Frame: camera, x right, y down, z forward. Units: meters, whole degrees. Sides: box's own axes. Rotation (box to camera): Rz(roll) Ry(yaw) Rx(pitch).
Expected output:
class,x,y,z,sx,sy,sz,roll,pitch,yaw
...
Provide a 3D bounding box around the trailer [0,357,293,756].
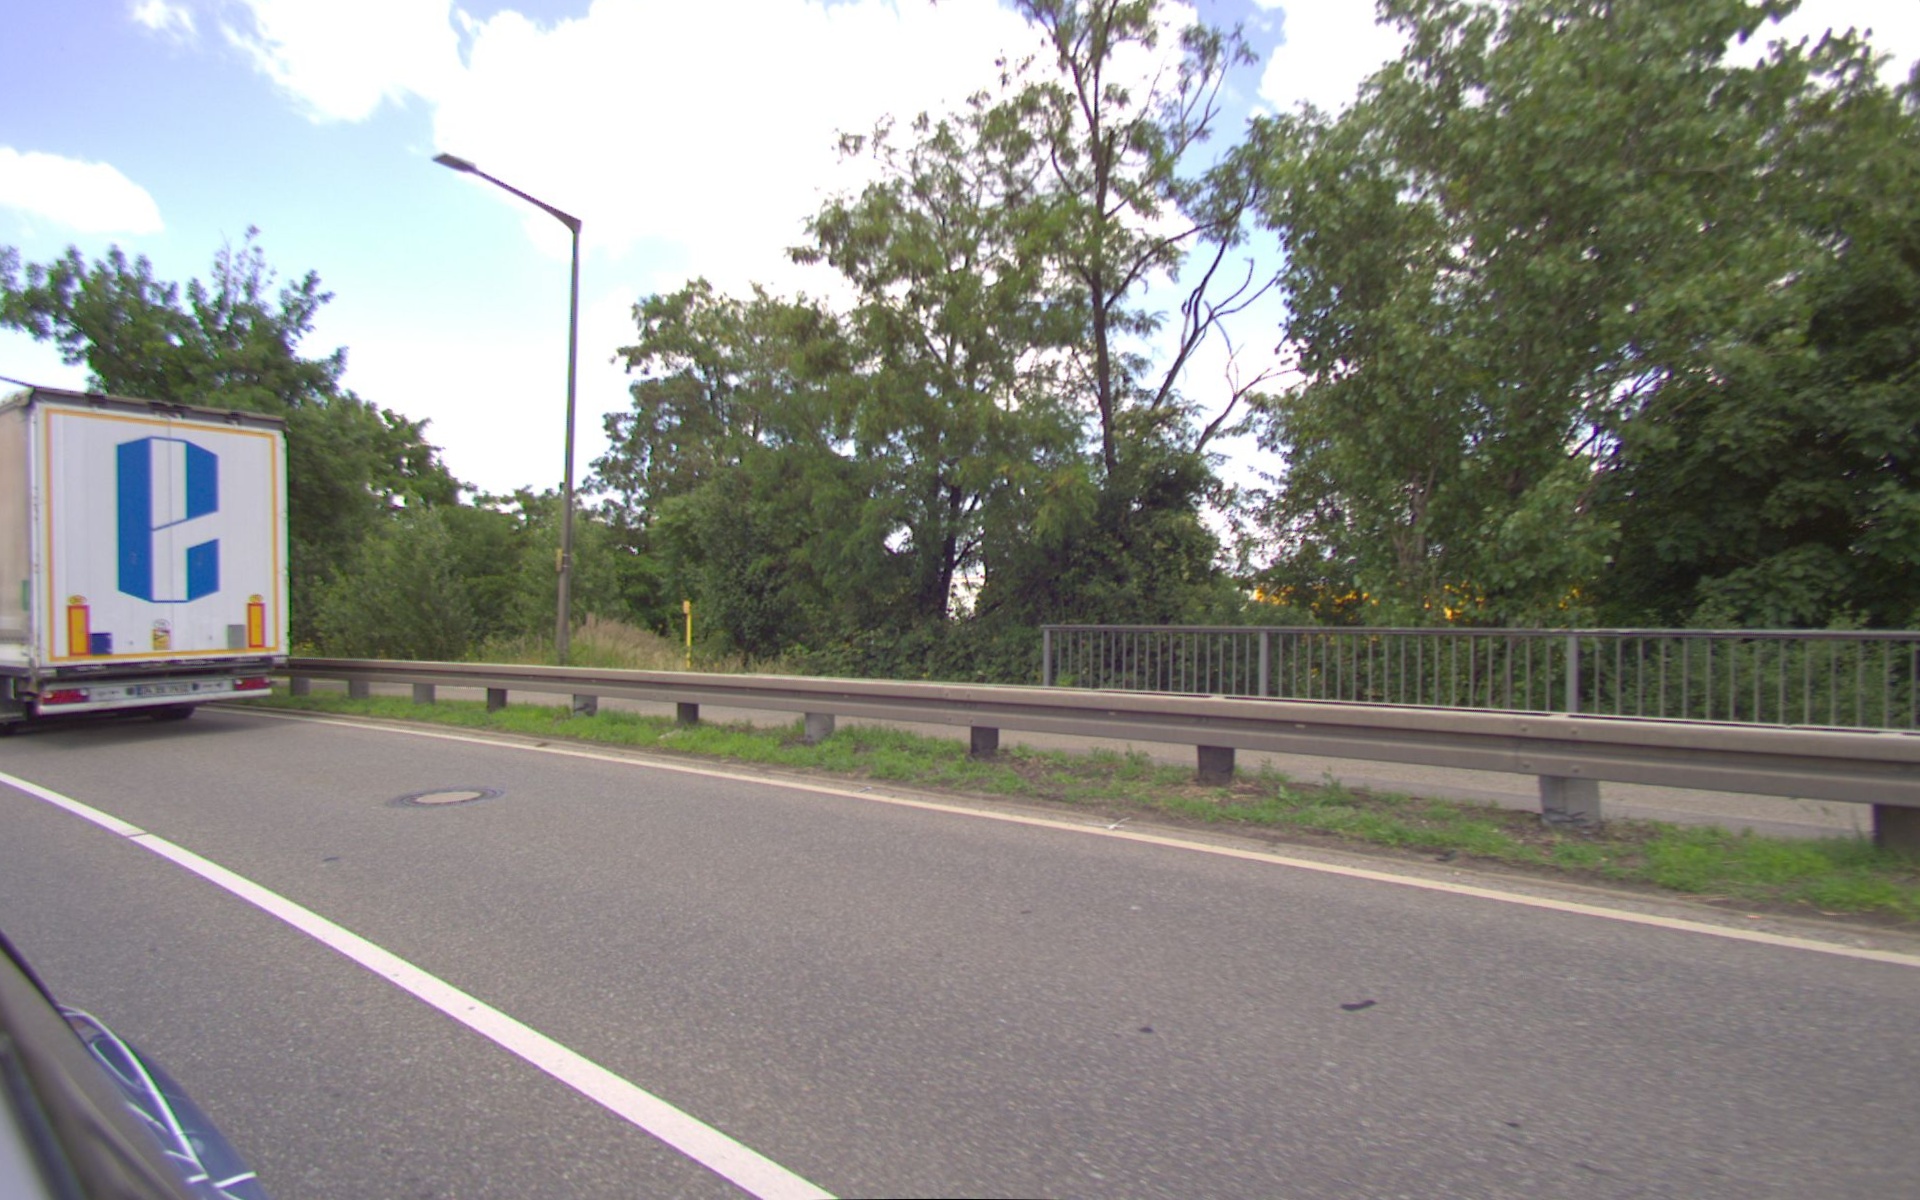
class,x,y,z,sx,sy,sz,roll,pitch,yaw
trailer,-15.340,-0.349,16.067,14.194,4.312,2.684,-1,0,34
